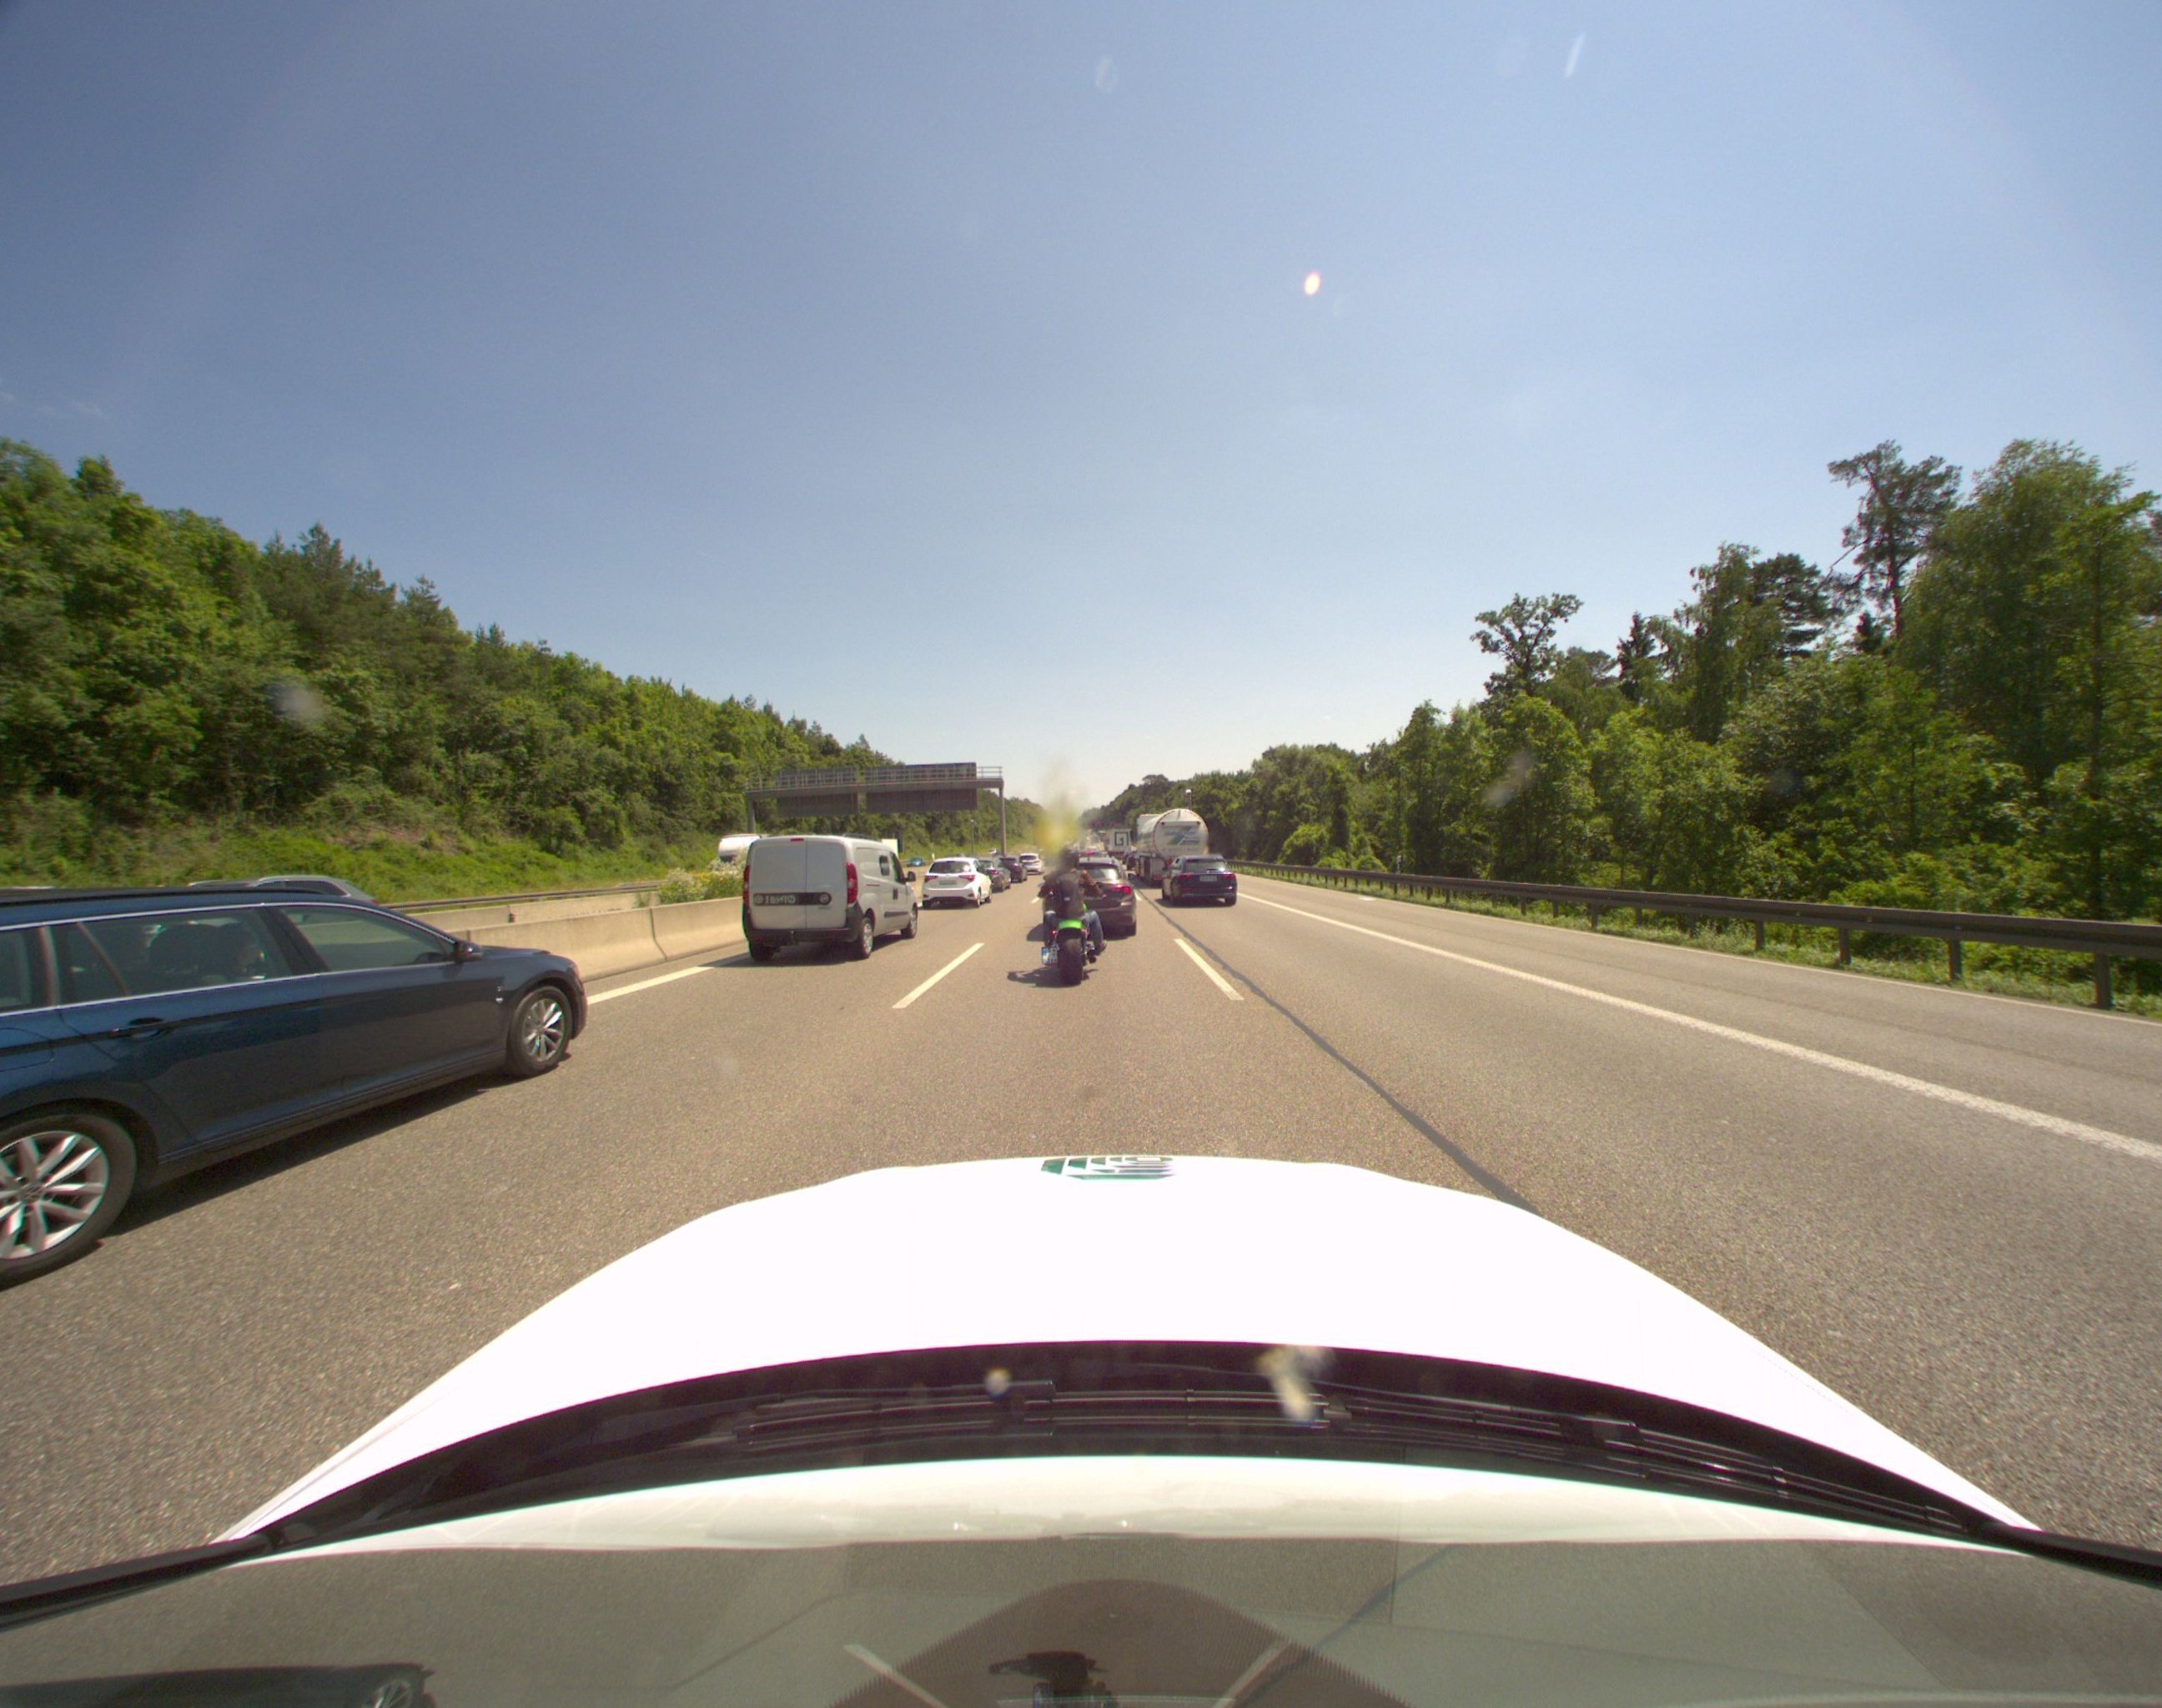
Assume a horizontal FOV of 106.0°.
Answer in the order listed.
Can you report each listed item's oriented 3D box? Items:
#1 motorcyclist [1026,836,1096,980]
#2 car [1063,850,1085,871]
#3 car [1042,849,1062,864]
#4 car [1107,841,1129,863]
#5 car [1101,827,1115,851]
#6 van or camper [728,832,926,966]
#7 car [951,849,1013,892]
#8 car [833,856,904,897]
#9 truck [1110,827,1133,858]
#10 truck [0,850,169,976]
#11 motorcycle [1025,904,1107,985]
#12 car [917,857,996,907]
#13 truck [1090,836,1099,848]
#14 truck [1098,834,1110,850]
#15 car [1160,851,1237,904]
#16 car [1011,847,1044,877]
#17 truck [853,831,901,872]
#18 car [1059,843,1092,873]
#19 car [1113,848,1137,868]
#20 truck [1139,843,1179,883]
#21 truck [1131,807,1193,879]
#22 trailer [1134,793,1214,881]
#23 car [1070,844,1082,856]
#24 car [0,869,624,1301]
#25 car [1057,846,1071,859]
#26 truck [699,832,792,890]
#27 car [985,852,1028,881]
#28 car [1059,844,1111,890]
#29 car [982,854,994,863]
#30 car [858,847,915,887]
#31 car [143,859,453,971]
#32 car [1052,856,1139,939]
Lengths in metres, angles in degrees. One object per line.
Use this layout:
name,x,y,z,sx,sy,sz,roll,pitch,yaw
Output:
motorcyclist,-0.228,0.646,10.129,0.796,1.688,1.016,-1,-1,1
car,-0.673,0.638,79.432,1.986,2.014,4.000,-1,-1,1
car,-2.877,0.300,81.432,1.757,1.442,4.001,-1,-1,1
car,3.677,-0.180,80.941,1.987,2.014,3.998,-1,-1,-1
car,4.747,-2.542,143.892,2.159,3.893,9.330,-1,-1,1
van or camper,-4.050,0.619,13.876,1.846,1.880,4.562,-1,0,1
car,-4.074,0.693,34.320,1.986,1.684,4.330,-1,-1,1
car,-8.555,0.867,33.148,1.819,1.494,3.999,-2,0,0
truck,5.489,-1.481,108.977,2.841,3.821,7.194,-1,-1,4
truck,-18.396,0.943,12.109,2.344,2.014,6.490,-1,-1,0
motorcycle,-0.152,1.113,10.539,0.932,0.793,2.299,-1,0,1
car,-3.770,0.842,25.353,1.770,1.411,4.000,-1,-1,1
truck,4.184,-3.622,255.232,2.687,3.405,10.479,-2,0,1
truck,5.452,-2.845,194.101,2.687,3.405,10.479,-2,0,1
car,3.500,0.703,25.042,1.786,1.458,4.624,-1,-1,1
car,-3.717,0.594,56.826,1.987,2.014,4.000,-1,-1,0
truck,-20.741,-0.171,83.160,2.683,3.990,7.991,-1,-1,1
car,-0.326,0.277,50.642,1.987,1.775,3.999,-1,-1,0
car,3.380,0.341,63.149,1.770,1.527,4.000,-1,-1,1
truck,6.215,0.674,66.051,2.381,2.979,8.251,-1,0,0
truck,4.375,-0.529,45.195,2.818,3.671,6.430,-1,-1,1
trailer,4.261,-0.631,39.523,2.818,3.671,10.733,-1,-1,1
car,-0.957,-0.769,146.668,1.986,2.013,4.001,-2,0,1
car,-4.635,0.836,4.169,1.868,1.450,4.678,-1,-1,1
car,-2.276,-0.182,108.010,1.654,1.599,4.001,-1,-1,1
truck,-18.028,0.424,44.201,2.170,2.885,6.742,-1,-1,0
car,-3.958,0.673,43.769,1.988,1.464,3.997,-1,-1,-1
car,0.162,0.537,33.047,1.987,1.711,3.999,-1,-1,0
car,-20.179,0.967,176.946,1.894,2.013,4.000,-2,0,1
car,-10.421,0.718,43.865,1.986,2.014,4.001,-1,-1,2
car,-14.710,1.045,15.727,1.778,1.838,4.293,-1,-1,1
car,0.294,0.779,16.441,1.535,1.450,4.001,-1,0,1
